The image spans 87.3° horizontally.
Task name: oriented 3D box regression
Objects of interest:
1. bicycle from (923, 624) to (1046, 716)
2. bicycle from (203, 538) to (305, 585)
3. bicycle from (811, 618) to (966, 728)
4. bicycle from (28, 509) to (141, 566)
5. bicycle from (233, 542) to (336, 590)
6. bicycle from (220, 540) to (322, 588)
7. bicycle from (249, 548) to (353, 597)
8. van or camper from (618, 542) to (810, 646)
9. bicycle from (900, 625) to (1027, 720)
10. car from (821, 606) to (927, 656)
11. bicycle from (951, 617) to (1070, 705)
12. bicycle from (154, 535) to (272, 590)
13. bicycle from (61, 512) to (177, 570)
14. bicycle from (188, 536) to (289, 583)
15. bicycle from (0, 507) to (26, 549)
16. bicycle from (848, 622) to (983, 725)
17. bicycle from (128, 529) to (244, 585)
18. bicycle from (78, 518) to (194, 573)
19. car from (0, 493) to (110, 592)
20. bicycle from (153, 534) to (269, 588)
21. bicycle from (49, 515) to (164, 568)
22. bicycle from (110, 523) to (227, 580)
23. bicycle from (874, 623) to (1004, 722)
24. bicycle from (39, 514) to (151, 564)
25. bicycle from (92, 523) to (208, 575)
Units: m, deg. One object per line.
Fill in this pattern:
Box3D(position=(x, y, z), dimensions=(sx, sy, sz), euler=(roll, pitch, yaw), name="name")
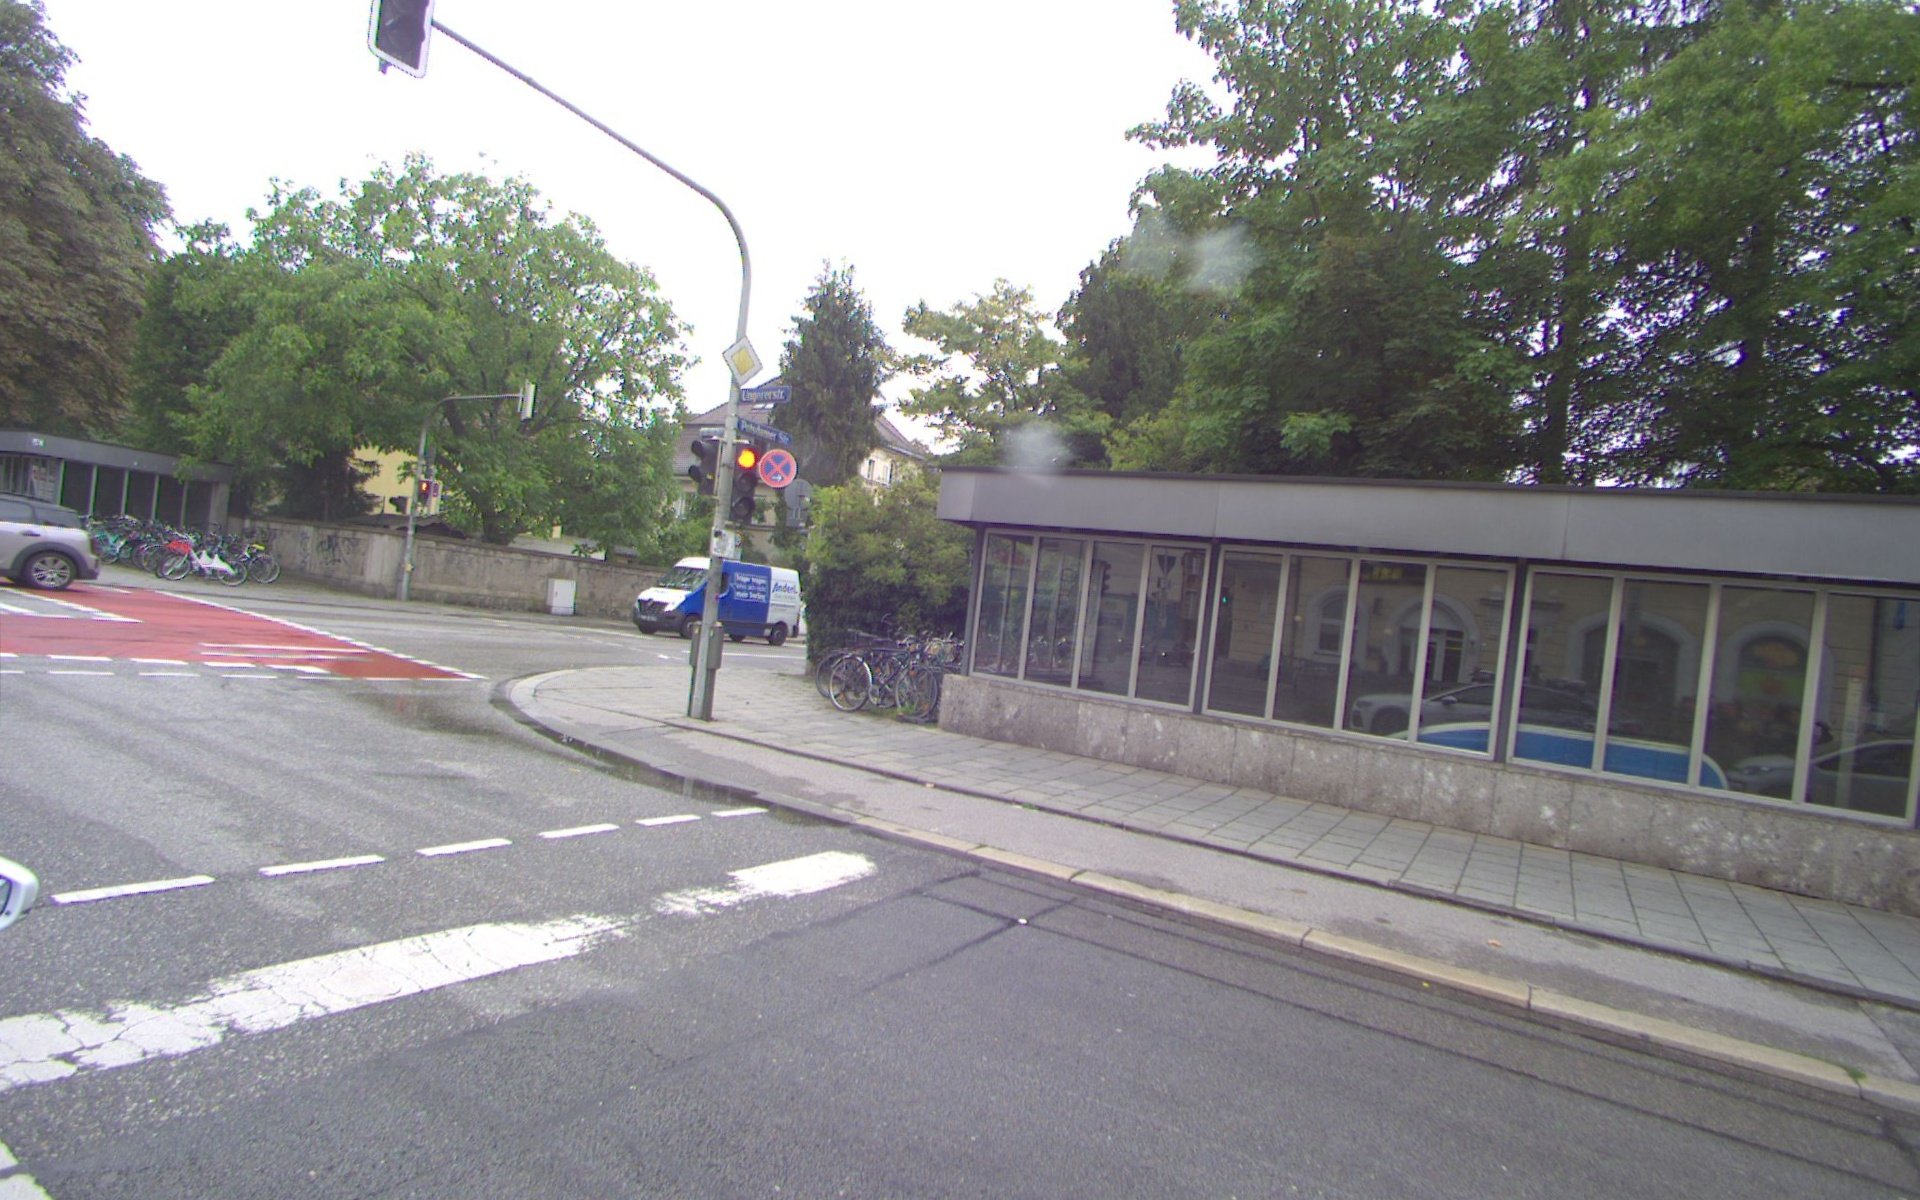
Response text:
Box3D(position=(0.344, 1.015, 14.843), dimensions=(1.707, 1.135, 0.469), euler=(6, 0, 32), name="bicycle")
Box3D(position=(-19.486, -1.051, 27.812), dimensions=(0.625, 1.026, 2.141), euler=(7, -1, 39), name="bicycle")
Box3D(position=(-0.924, 0.902, 12.712), dimensions=(1.858, 1.135, 0.600), euler=(6, 0, 32), name="bicycle")
Box3D(position=(-23.612, -1.667, 27.170), dimensions=(0.594, 1.233, 2.141), euler=(7, 0, 39), name="bicycle")
Box3D(position=(-18.146, -0.902, 27.072), dimensions=(0.625, 1.026, 2.141), euler=(7, -1, 39), name="bicycle")
Box3D(position=(-18.783, -0.969, 27.472), dimensions=(0.625, 1.026, 2.141), euler=(7, -1, 39), name="bicycle")
Box3D(position=(-17.468, -0.724, 26.706), dimensions=(0.625, 1.026, 2.141), euler=(7, -1, 39), name="bicycle")
Box3D(position=(-7.282, -0.104, 30.509), dimensions=(2.033, 2.499, 5.558), euler=(7, -1, 33), name="van or camper")
Box3D(position=(0.033, 1.012, 14.329), dimensions=(1.707, 1.135, 0.469), euler=(6, 0, 32), name="bicycle")
Box3D(position=(-3.108, 1.165, 36.979), dimensions=(1.669, 1.414, 3.838), euler=(7, -1, 37), name="car")
Box3D(position=(0.760, 0.926, 15.490), dimensions=(1.707, 1.135, 0.469), euler=(6, 0, 32), name="bicycle")
Box3D(position=(-17.922, -0.880, 24.182), dimensions=(0.594, 1.026, 2.141), euler=(7, -1, 39), name="bicycle")
Box3D(position=(-21.689, -1.506, 25.984), dimensions=(0.594, 1.192, 2.141), euler=(7, 0, 39), name="bicycle")
Box3D(position=(-20.167, -1.128, 28.170), dimensions=(0.625, 1.026, 2.141), euler=(7, -1, 39), name="bicycle")
Box3D(position=(-26.313, -2.017, 27.453), dimensions=(1.981, 1.027, 0.557), euler=(7, 0, 30), name="bicycle")
Box3D(position=(-0.601, 0.949, 13.282), dimensions=(1.707, 1.135, 0.469), euler=(6, 0, 32), name="bicycle")
Box3D(position=(-19.119, -1.054, 24.899), dimensions=(0.594, 1.084, 2.141), euler=(7, -1, 39), name="bicycle")
Box3D(position=(-21.048, -1.382, 25.747), dimensions=(0.594, 1.099, 2.141), euler=(7, -1, 39), name="bicycle")
Box3D(position=(-17.057, -1.153, 16.665), dimensions=(1.668, 1.532, 4.171), euler=(7, -1, 34), name="car")
Box3D(position=(-18.338, -0.935, 24.675), dimensions=(0.625, 1.026, 2.141), euler=(7, -1, 39), name="bicycle")
Box3D(position=(-22.296, -1.514, 26.320), dimensions=(0.594, 1.075, 2.141), euler=(7, -1, 39), name="bicycle")
Box3D(position=(-19.727, -1.198, 25.118), dimensions=(0.594, 1.114, 2.141), euler=(7, 0, 39), name="bicycle")
Box3D(position=(-0.305, 0.980, 13.780), dimensions=(1.707, 1.135, 0.469), euler=(6, 0, 32), name="bicycle")
Box3D(position=(-23.013, -1.608, 26.799), dimensions=(0.594, 1.026, 2.141), euler=(7, -1, 39), name="bicycle")
Box3D(position=(-20.389, -1.270, 25.376), dimensions=(0.594, 1.026, 2.141), euler=(7, -1, 39), name="bicycle")
